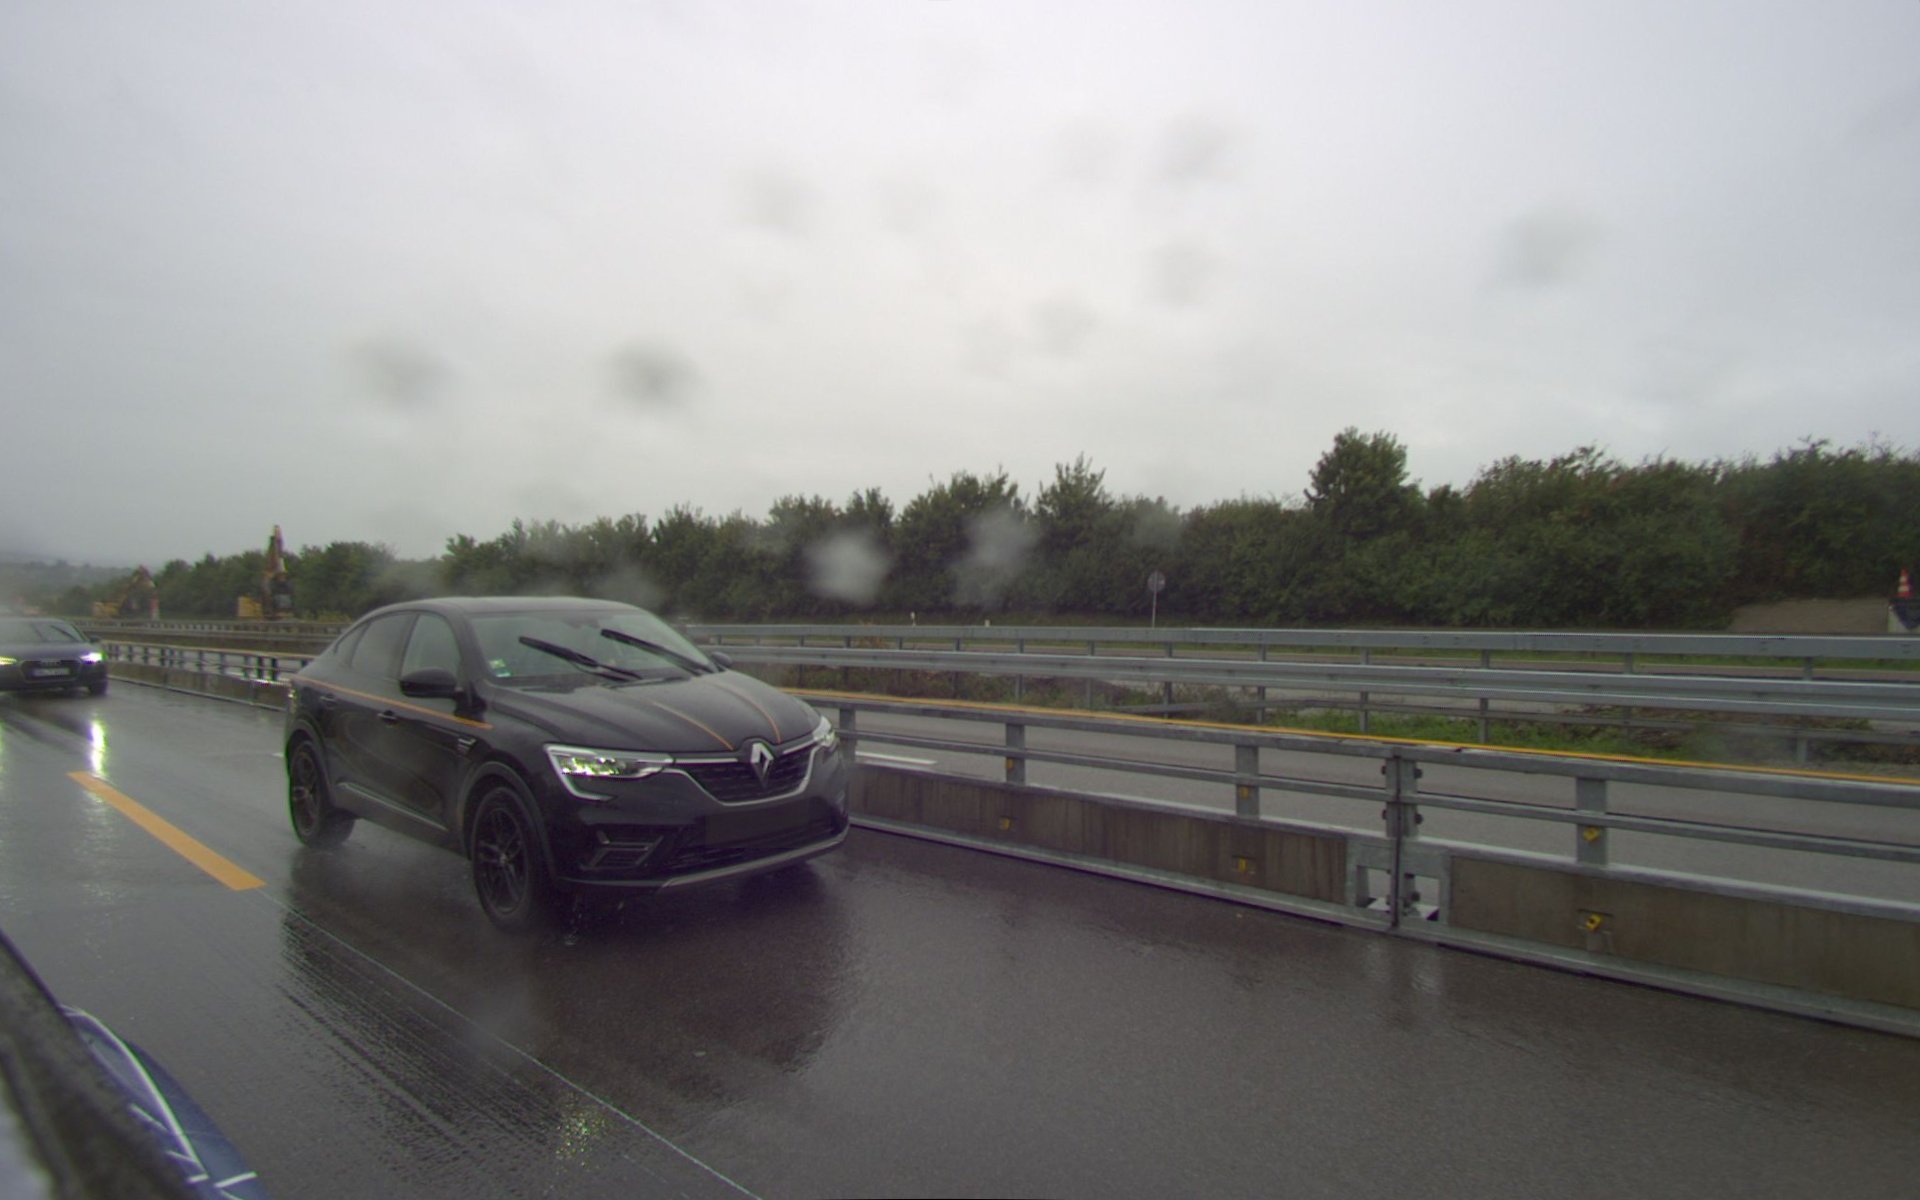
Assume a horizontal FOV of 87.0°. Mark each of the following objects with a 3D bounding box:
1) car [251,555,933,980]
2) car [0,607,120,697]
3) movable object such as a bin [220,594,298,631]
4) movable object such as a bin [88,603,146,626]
[{"bbox_3d":[-2.439,0.634,6.023,4.412,1.597,1.972,-1,0,42],"label":"car"},{"bbox_3d":[-17.761,0.920,19.331,4.629,1.509,1.972,-1,0,42],"label":"car"},{"bbox_3d":[-56.786,0.985,81.969,6.326,2.819,3.726,-1,0,41],"label":"movable object such as a bin"},{"bbox_3d":[-89.420,1.576,107.374,5.087,2.312,3.410,-1,0,34],"label":"movable object such as a bin"}]
